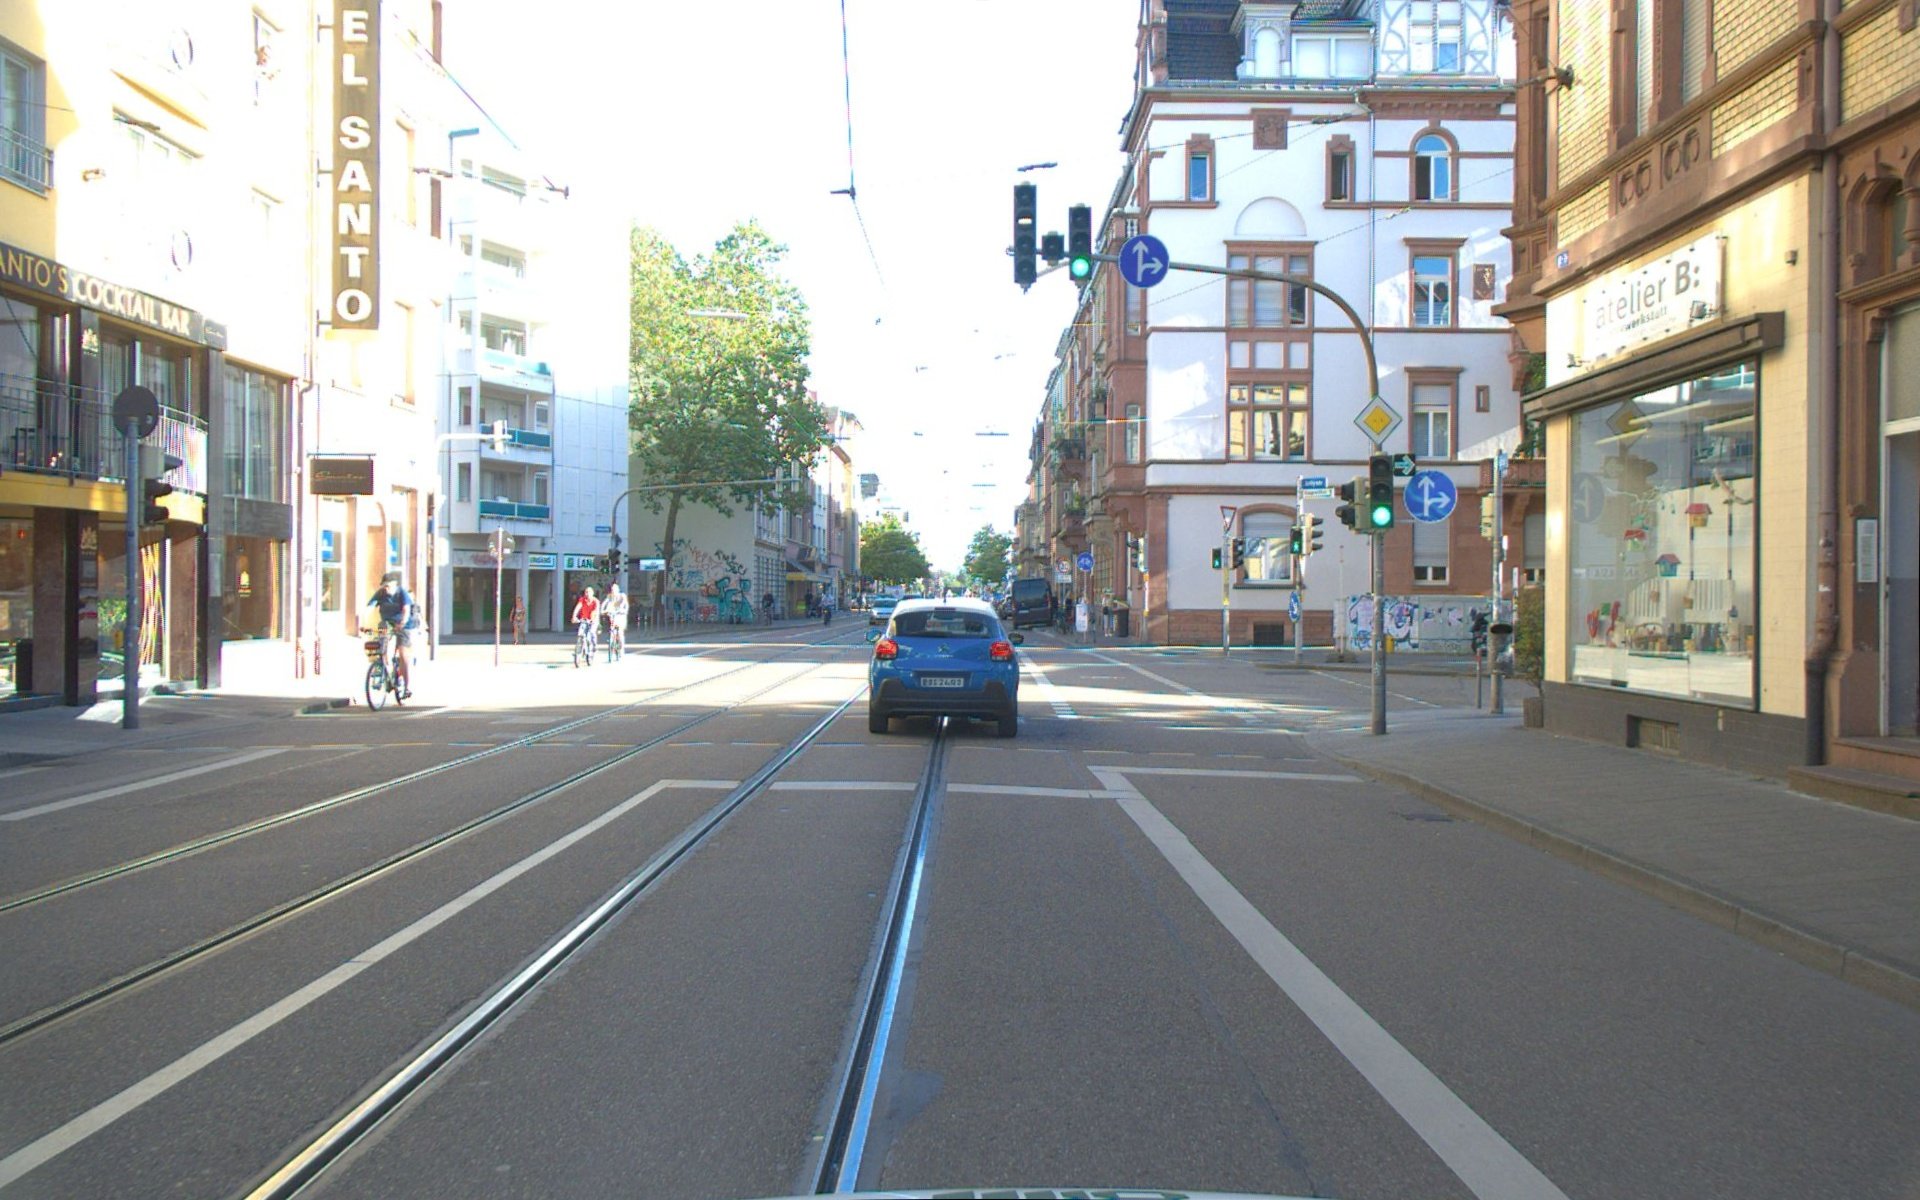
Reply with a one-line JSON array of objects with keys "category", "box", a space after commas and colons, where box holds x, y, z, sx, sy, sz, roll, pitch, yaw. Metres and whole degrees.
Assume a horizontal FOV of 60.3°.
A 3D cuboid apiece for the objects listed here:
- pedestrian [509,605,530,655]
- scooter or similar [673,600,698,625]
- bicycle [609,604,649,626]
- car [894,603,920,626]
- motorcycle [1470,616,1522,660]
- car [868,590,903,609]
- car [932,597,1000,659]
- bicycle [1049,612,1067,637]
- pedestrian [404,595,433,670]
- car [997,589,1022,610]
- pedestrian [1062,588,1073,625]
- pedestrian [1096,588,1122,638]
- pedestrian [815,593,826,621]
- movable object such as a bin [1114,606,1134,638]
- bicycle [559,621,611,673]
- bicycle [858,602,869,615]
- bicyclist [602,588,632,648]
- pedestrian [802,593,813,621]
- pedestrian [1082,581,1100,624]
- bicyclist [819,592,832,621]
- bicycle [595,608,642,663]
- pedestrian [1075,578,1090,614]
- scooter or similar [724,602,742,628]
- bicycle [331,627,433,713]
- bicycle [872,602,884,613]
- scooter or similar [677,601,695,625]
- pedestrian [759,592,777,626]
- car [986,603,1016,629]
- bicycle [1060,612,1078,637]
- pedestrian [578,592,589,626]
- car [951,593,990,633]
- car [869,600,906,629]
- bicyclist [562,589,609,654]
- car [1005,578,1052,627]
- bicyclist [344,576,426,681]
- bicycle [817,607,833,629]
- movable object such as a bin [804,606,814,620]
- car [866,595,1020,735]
[{"category": "pedestrian", "box": [-14.010, 0.945, 52.644, 0.531, 1.579, 0.516, 0, 0, -2]}, {"category": "scooter or similar", "box": [-14.162, 0.645, 85.303, 1.206, 1.280, 0.765, 0, 0, -12]}, {"category": "bicycle", "box": [-15.801, 0.709, 78.967, 1.878, 1.052, 0.664, 0, 0, 26]}, {"category": "car", "box": [-4.175, 1.129, 130.818, 1.953, 1.774, 4.562, 0, 0, -1]}, {"category": "motorcycle", "box": [14.588, 1.008, 45.070, 0.598, 1.144, 2.390, 0, 0, -1]}, {"category": "car", "box": [-10.227, -0.083, 227.239, 4.255, 2.626, 2.191, 0, 0, -26]}, {"category": "car", "box": [0.107, 0.671, 42.069, 1.633, 1.504, 3.999, 0, 0, -1]}, {"category": "bicycle", "box": [3.928, 0.992, 66.527, 0.423, 0.964, 1.761, 0, 0, -7]}, {"category": "pedestrian", "box": [-10.442, 0.622, 31.889, 0.395, 1.435, 0.516, 0, 0, -2]}, {"category": "car", "box": [4.183, -0.046, 138.156, 1.963, 1.702, 4.392, 0, 0, 3]}, {"category": "pedestrian", "box": [5.868, 0.354, 90.252, 0.573, 2.049, 0.823, 0, 0, -1]}, {"category": "pedestrian", "box": [5.631, 0.483, 62.553, 0.691, 1.812, 0.672, -8, 0, -1]}, {"category": "pedestrian", "box": [-9.085, 0.451, 107.785, 0.696, 1.795, 0.654, 0, 0, -3]}, {"category": "movable object such as a bin", "box": [6.037, 0.805, 60.842, 0.652, 1.174, 0.594, 0, 0, -1]}, {"category": "bicycle", "box": [-8.276, 1.022, 36.568, 0.716, 1.084, 2.061, 0, 0, -1]}, {"category": "bicycle", "box": [-10.421, 0.914, 178.467, 1.099, 1.342, 3.640, 0, 0, -5]}, {"category": "bicyclist", "box": [-8.157, 0.424, 39.363, 0.578, 1.400, 0.679, 0, 0, -2]}, {"category": "pedestrian", "box": [-9.925, 0.448, 107.678, 0.696, 1.795, 0.570, 0, 0, -1]}, {"category": "pedestrian", "box": [5.240, 0.098, 66.183, 0.615, 1.731, 0.681, 0, 0, -9]}, {"category": "bicyclist", "box": [-7.214, 0.346, 88.592, 0.668, 1.509, 0.778, 0, 0, -1]}, {"category": "bicycle", "box": [-8.114, 0.856, 39.322, 0.716, 1.204, 2.060, 0, -4, -1]}, {"category": "pedestrian", "box": [6.371, -0.201, 86.031, 0.542, 1.812, 0.606, 7, 0, -1]}, {"category": "scooter or similar", "box": [-11.876, 0.781, 86.690, 0.772, 1.294, 1.075, 2, 1, -1]}, {"category": "bicycle", "box": [-7.924, 0.937, 22.771, 0.716, 1.107, 2.061, 0, 0, -1]}, {"category": "bicycle", "box": [-8.885, 0.824, 178.714, 1.099, 1.166, 3.640, 0, 0, -5]}, {"category": "scooter or similar", "box": [-14.336, 0.675, 86.506, 0.921, 1.243, 0.765, 0, 0, -12]}, {"category": "pedestrian", "box": [-10.158, 0.492, 87.447, 0.668, 1.796, 1.026, 0, 0, 10]}, {"category": "car", "box": [2.823, 1.066, 113.973, 1.964, 1.702, 4.805, 0, 0, 0]}, {"category": "bicycle", "box": [4.386, 0.992, 66.555, 0.423, 0.964, 1.761, 0, 0, -7]}, {"category": "pedestrian", "box": [-19.325, 0.450, 84.980, 0.446, 1.748, 0.547, 0, 0, -1]}, {"category": "car", "box": [0.512, 0.645, 86.713, 1.953, 2.049, 3.999, 0, 0, -1]}, {"category": "car", "box": [-3.985, 0.790, 91.676, 1.945, 1.528, 4.307, 0, 0, -1]}, {"category": "bicyclist", "box": [-8.268, 0.474, 36.531, 0.720, 1.405, 1.468, 0, 0, -1]}, {"category": "car", "box": [3.550, 0.121, 86.873, 2.225, 2.479, 5.719, 0, 0, 0]}, {"category": "bicyclist", "box": [-7.911, 0.386, 22.788, 0.709, 1.405, 1.227, 0, 0, -2]}, {"category": "bicycle", "box": [-7.201, 0.962, 88.246, 0.678, 1.140, 2.083, 0, 0, -1]}, {"category": "movable object such as a bin", "box": [-9.908, 0.848, 108.351, 0.598, 0.930, 0.695, 0, 0, 0]}, {"category": "car", "box": [-0.275, 0.695, 19.727, 1.640, 1.503, 3.998, 0, 0, -3]}]
